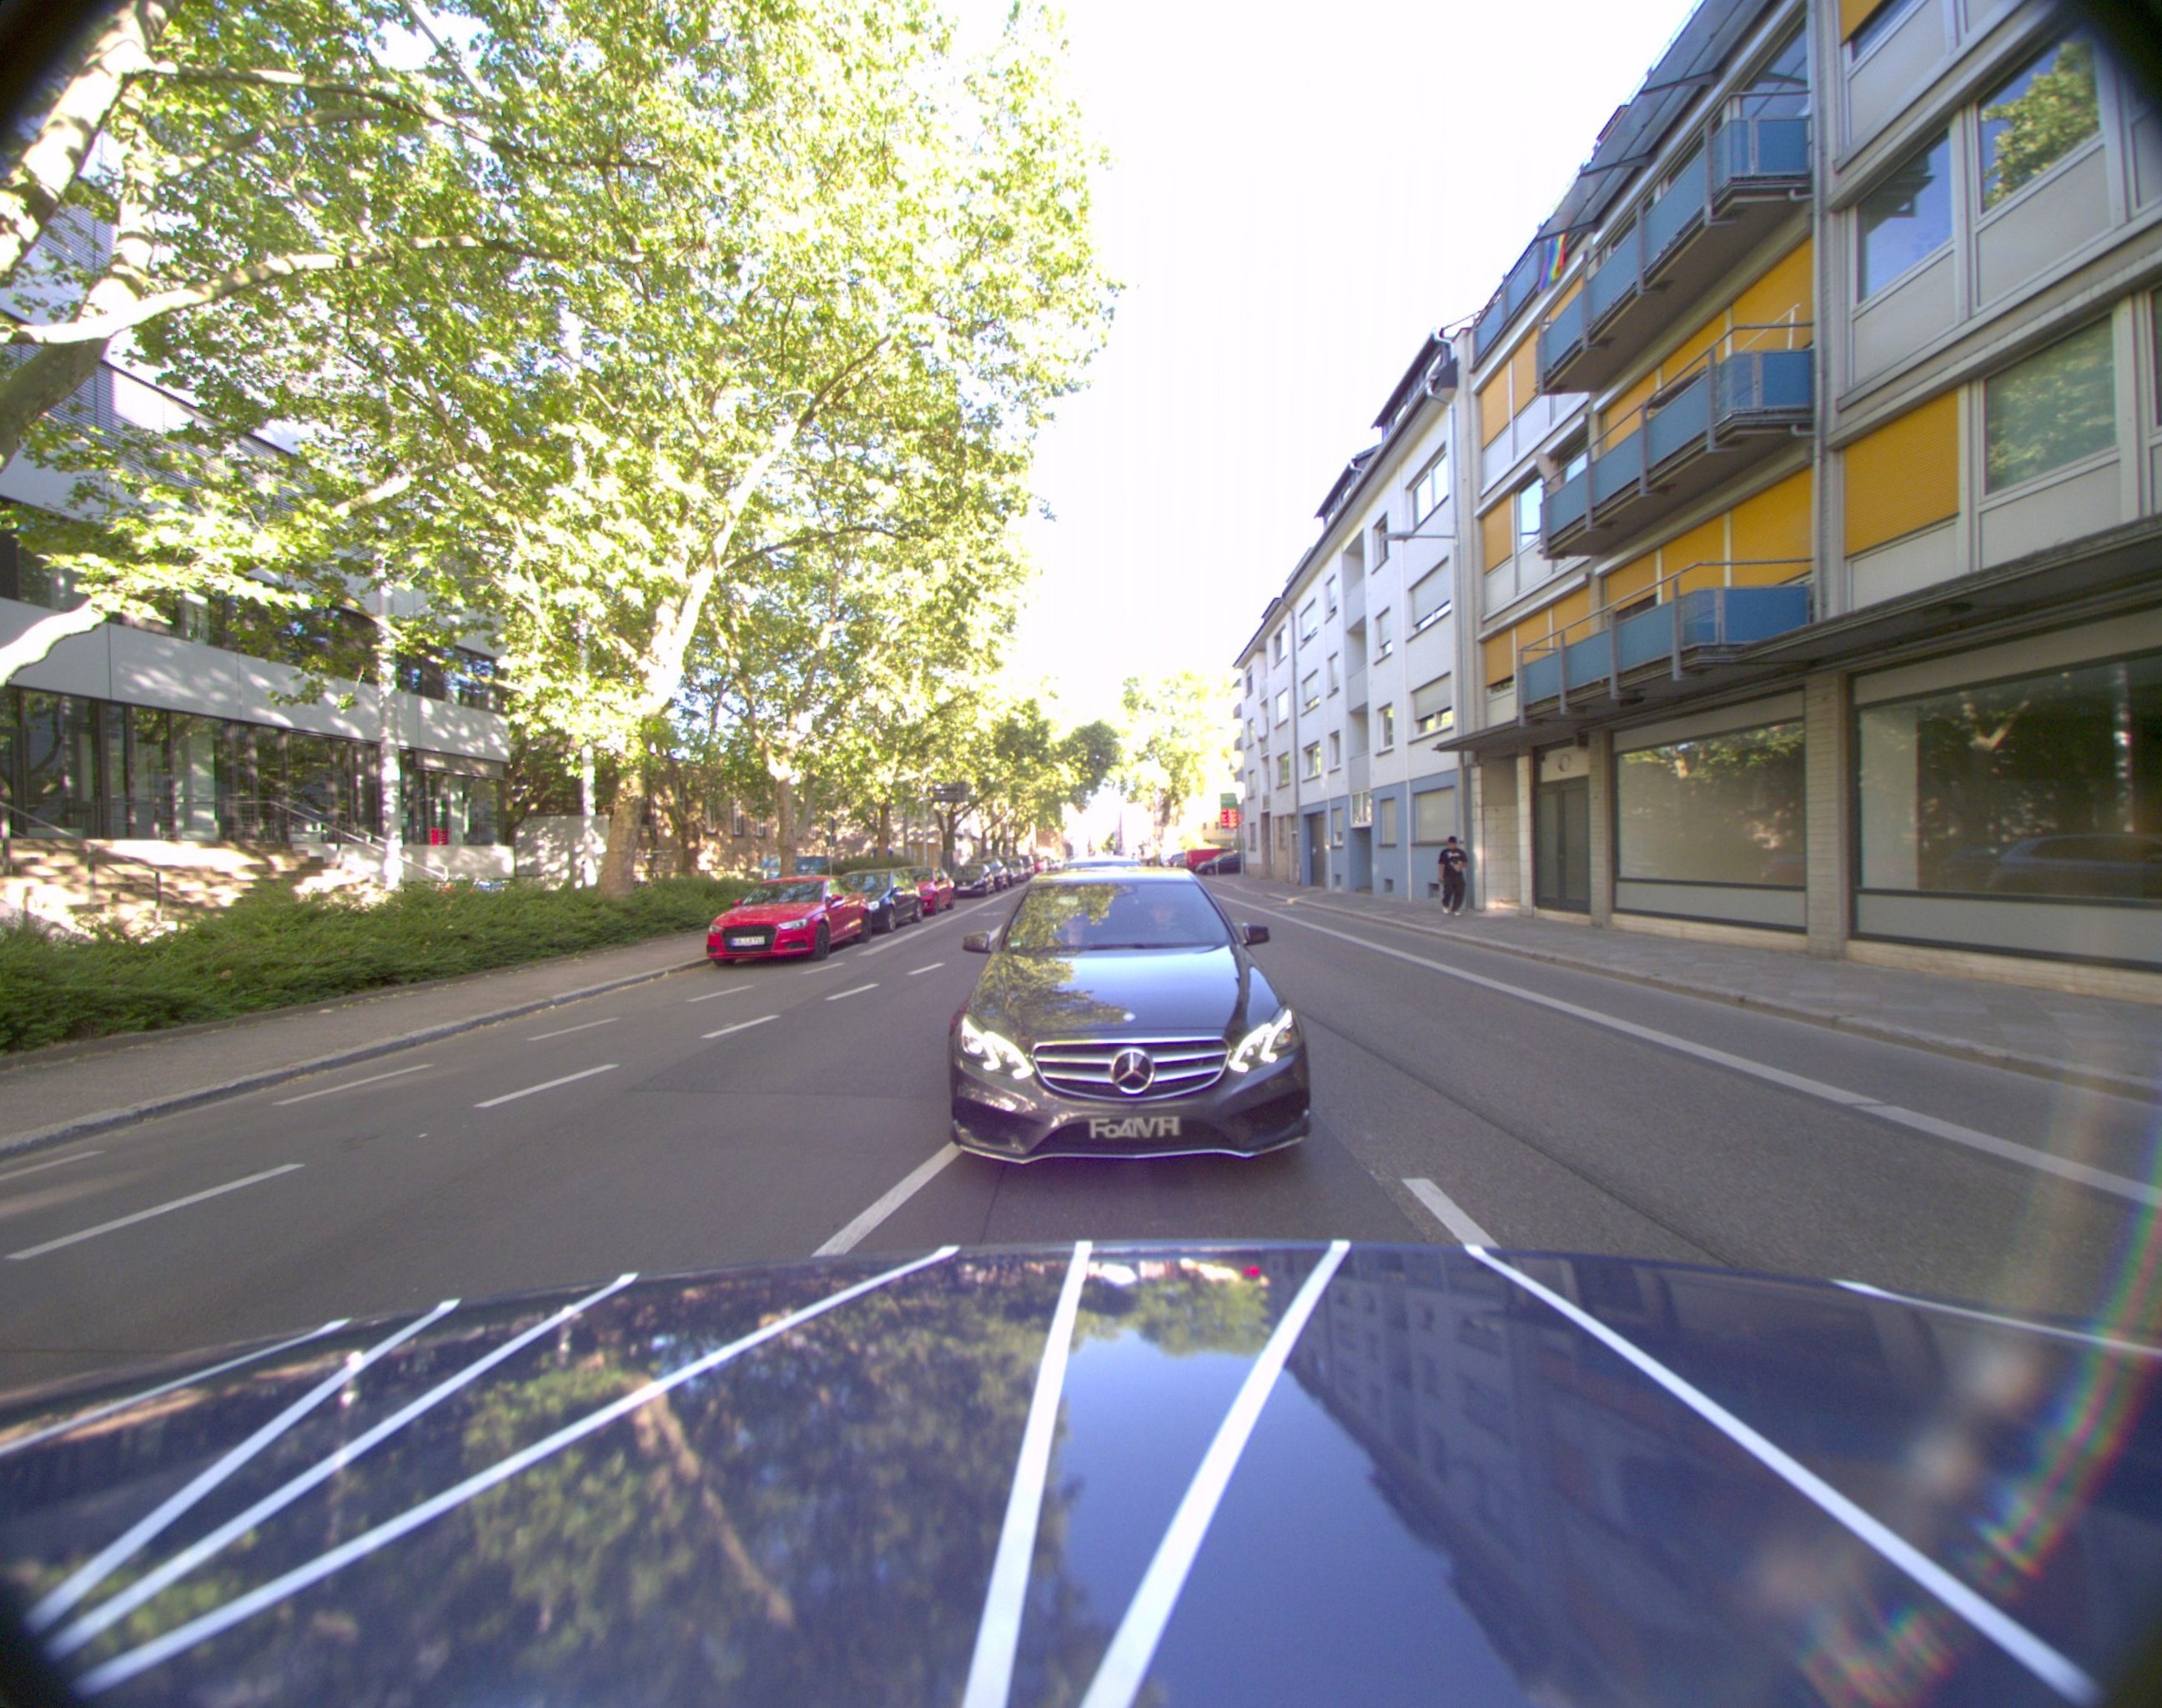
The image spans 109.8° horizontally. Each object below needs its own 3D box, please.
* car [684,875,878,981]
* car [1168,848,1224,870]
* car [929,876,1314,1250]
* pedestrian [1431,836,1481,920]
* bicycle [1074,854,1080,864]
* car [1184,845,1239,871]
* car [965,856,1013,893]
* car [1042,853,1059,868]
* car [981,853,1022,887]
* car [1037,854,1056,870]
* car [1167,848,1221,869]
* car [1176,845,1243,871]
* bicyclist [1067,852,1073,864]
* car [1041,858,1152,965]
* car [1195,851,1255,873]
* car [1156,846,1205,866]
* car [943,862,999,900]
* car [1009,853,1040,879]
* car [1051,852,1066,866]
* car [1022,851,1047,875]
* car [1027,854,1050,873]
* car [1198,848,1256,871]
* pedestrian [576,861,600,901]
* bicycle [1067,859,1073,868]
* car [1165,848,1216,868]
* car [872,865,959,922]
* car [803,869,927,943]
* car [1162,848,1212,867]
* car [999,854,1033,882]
[{"bbox_3d":[-5.116,1.182,13.603,1.755,1.400,4.000,-3,0,1],"label":"car"},{"bbox_3d":[11.091,0.448,73.528,5.143,1.926,2.187,-2,0,1],"label":"car"},{"bbox_3d":[0.207,0.985,5.363,1.667,1.499,4.000,-1,0,1],"label":"car"},{"bbox_3d":[8.135,0.519,16.522,0.663,1.761,0.793,-2,1,3],"label":"pedestrian"},{"bbox_3d":[-0.462,0.594,90.399,0.574,1.053,1.595,-1,0,1],"label":"bicycle"},{"bbox_3d":[10.323,0.305,60.087,3.997,1.926,1.867,-2,0,1],"label":"car"},{"bbox_3d":[-4.569,0.977,38.269,1.755,1.644,4.174,-3,0,1],"label":"car"},{"bbox_3d":[-3.658,0.776,92.933,1.755,1.652,4.447,-3,0,1],"label":"car"},{"bbox_3d":[-4.560,0.872,44.068,1.755,1.810,4.447,-3,0,1],"label":"car"},{"bbox_3d":[-3.786,0.872,83.520,1.755,1.652,4.447,-3,0,1],"label":"car"},{"bbox_3d":[11.263,0.410,76.228,5.054,1.926,2.161,-2,0,1],"label":"car"},{"bbox_3d":[10.628,0.299,63.112,5.223,1.969,2.257,-2,0,1],"label":"car"},{"bbox_3d":[-1.299,0.497,90.399,0.650,1.427,0.741,-1,1,1],"label":"bicyclist"},{"bbox_3d":[0.266,0.888,13.615,1.667,1.563,4.000,-1,0,1],"label":"car"},{"bbox_3d":[10.349,0.567,54.788,3.997,1.412,1.743,-2,0,1],"label":"car"},{"bbox_3d":[11.180,0.206,85.528,5.143,2.135,2.187,-2,0,1],"label":"car"},{"bbox_3d":[-4.756,1.119,33.299,1.755,1.424,3.909,-3,0,1],"label":"car"},{"bbox_3d":[-4.110,0.824,55.761,1.755,1.753,4.447,-3,0,1],"label":"car"},{"bbox_3d":[-3.026,0.652,103.209,1.755,1.652,4.447,-3,0,1],"label":"car"},{"bbox_3d":[-4.005,0.731,66.395,1.755,1.941,4.447,-3,0,1],"label":"car"},{"bbox_3d":[-4.011,0.905,72.181,1.755,1.652,4.447,-3,0,1],"label":"car"},{"bbox_3d":[10.905,0.396,56.998,3.997,1.552,1.743,-2,0,1],"label":"car"},{"bbox_3d":[-21.064,1.161,32.479,0.525,1.660,0.661,-2,1,2],"label":"pedestrian"},{"bbox_3d":[-1.285,1.082,90.472,0.650,1.053,1.595,-1,0,1],"label":"bicycle"},{"bbox_3d":[11.278,0.378,78.726,4.991,1.926,2.083,-2,0,1],"label":"car"},{"bbox_3d":[-5.040,1.147,23.661,1.755,1.459,3.909,-3,0,1],"label":"car"},{"bbox_3d":[-5.090,1.174,18.449,1.755,1.424,3.909,-3,0,1],"label":"car"},{"bbox_3d":[11.313,0.353,81.192,5.042,1.926,2.315,-2,0,1],"label":"car"},{"bbox_3d":[-4.280,0.882,50.950,1.755,1.718,4.447,-3,0,1],"label":"car"}]
